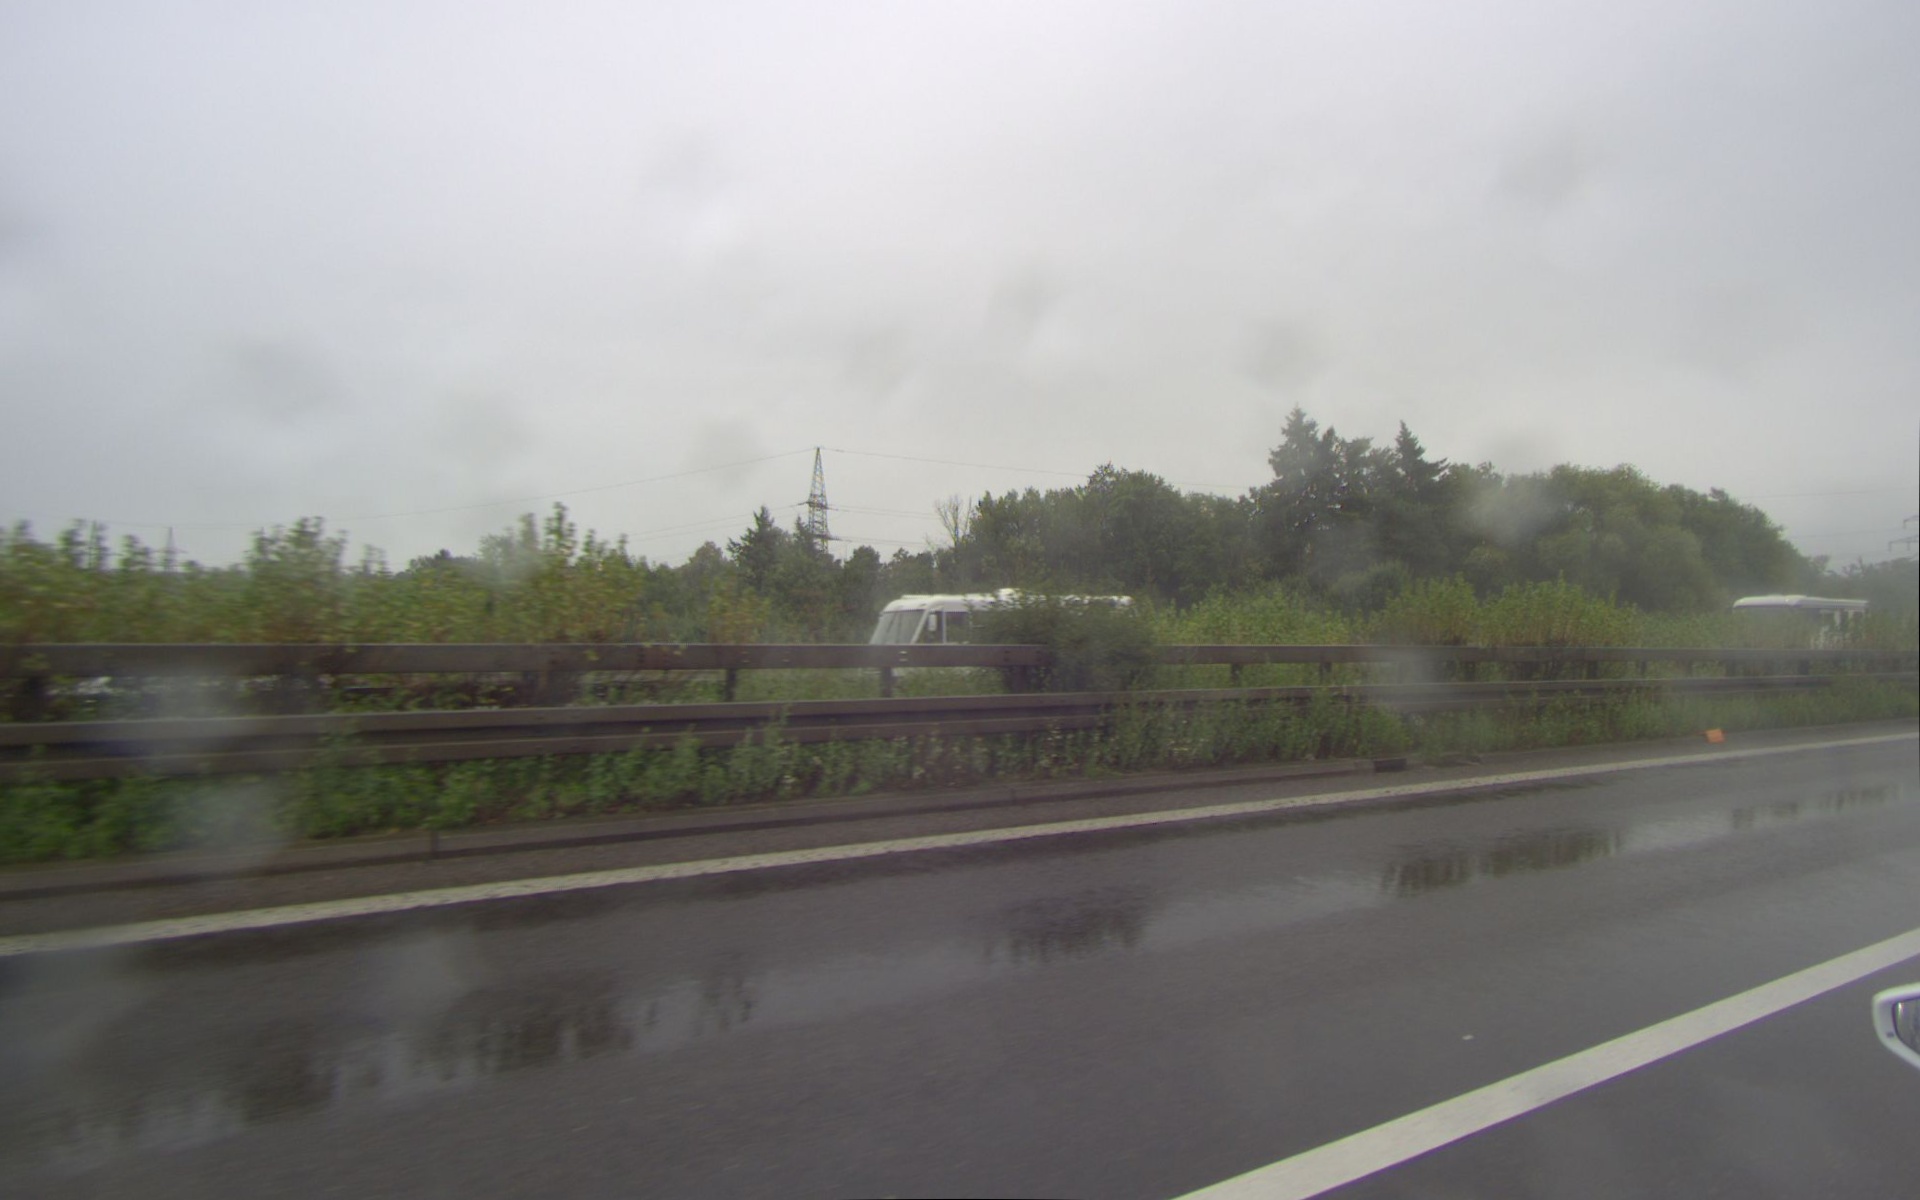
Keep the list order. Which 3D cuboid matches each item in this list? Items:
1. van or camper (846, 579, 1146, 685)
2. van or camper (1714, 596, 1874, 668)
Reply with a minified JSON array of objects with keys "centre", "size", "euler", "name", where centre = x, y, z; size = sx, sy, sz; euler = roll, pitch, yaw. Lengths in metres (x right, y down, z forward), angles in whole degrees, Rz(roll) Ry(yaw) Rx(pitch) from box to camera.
[{"centre":[1.008,0.757,25.236],"size":[7.252,2.306,2.592],"euler":[1,2,-31],"name":"van or camper"},{"centre":[39.259,1.480,47.189],"size":[9.405,3.127,2.873],"euler":[1,-1,-31],"name":"van or camper"}]
